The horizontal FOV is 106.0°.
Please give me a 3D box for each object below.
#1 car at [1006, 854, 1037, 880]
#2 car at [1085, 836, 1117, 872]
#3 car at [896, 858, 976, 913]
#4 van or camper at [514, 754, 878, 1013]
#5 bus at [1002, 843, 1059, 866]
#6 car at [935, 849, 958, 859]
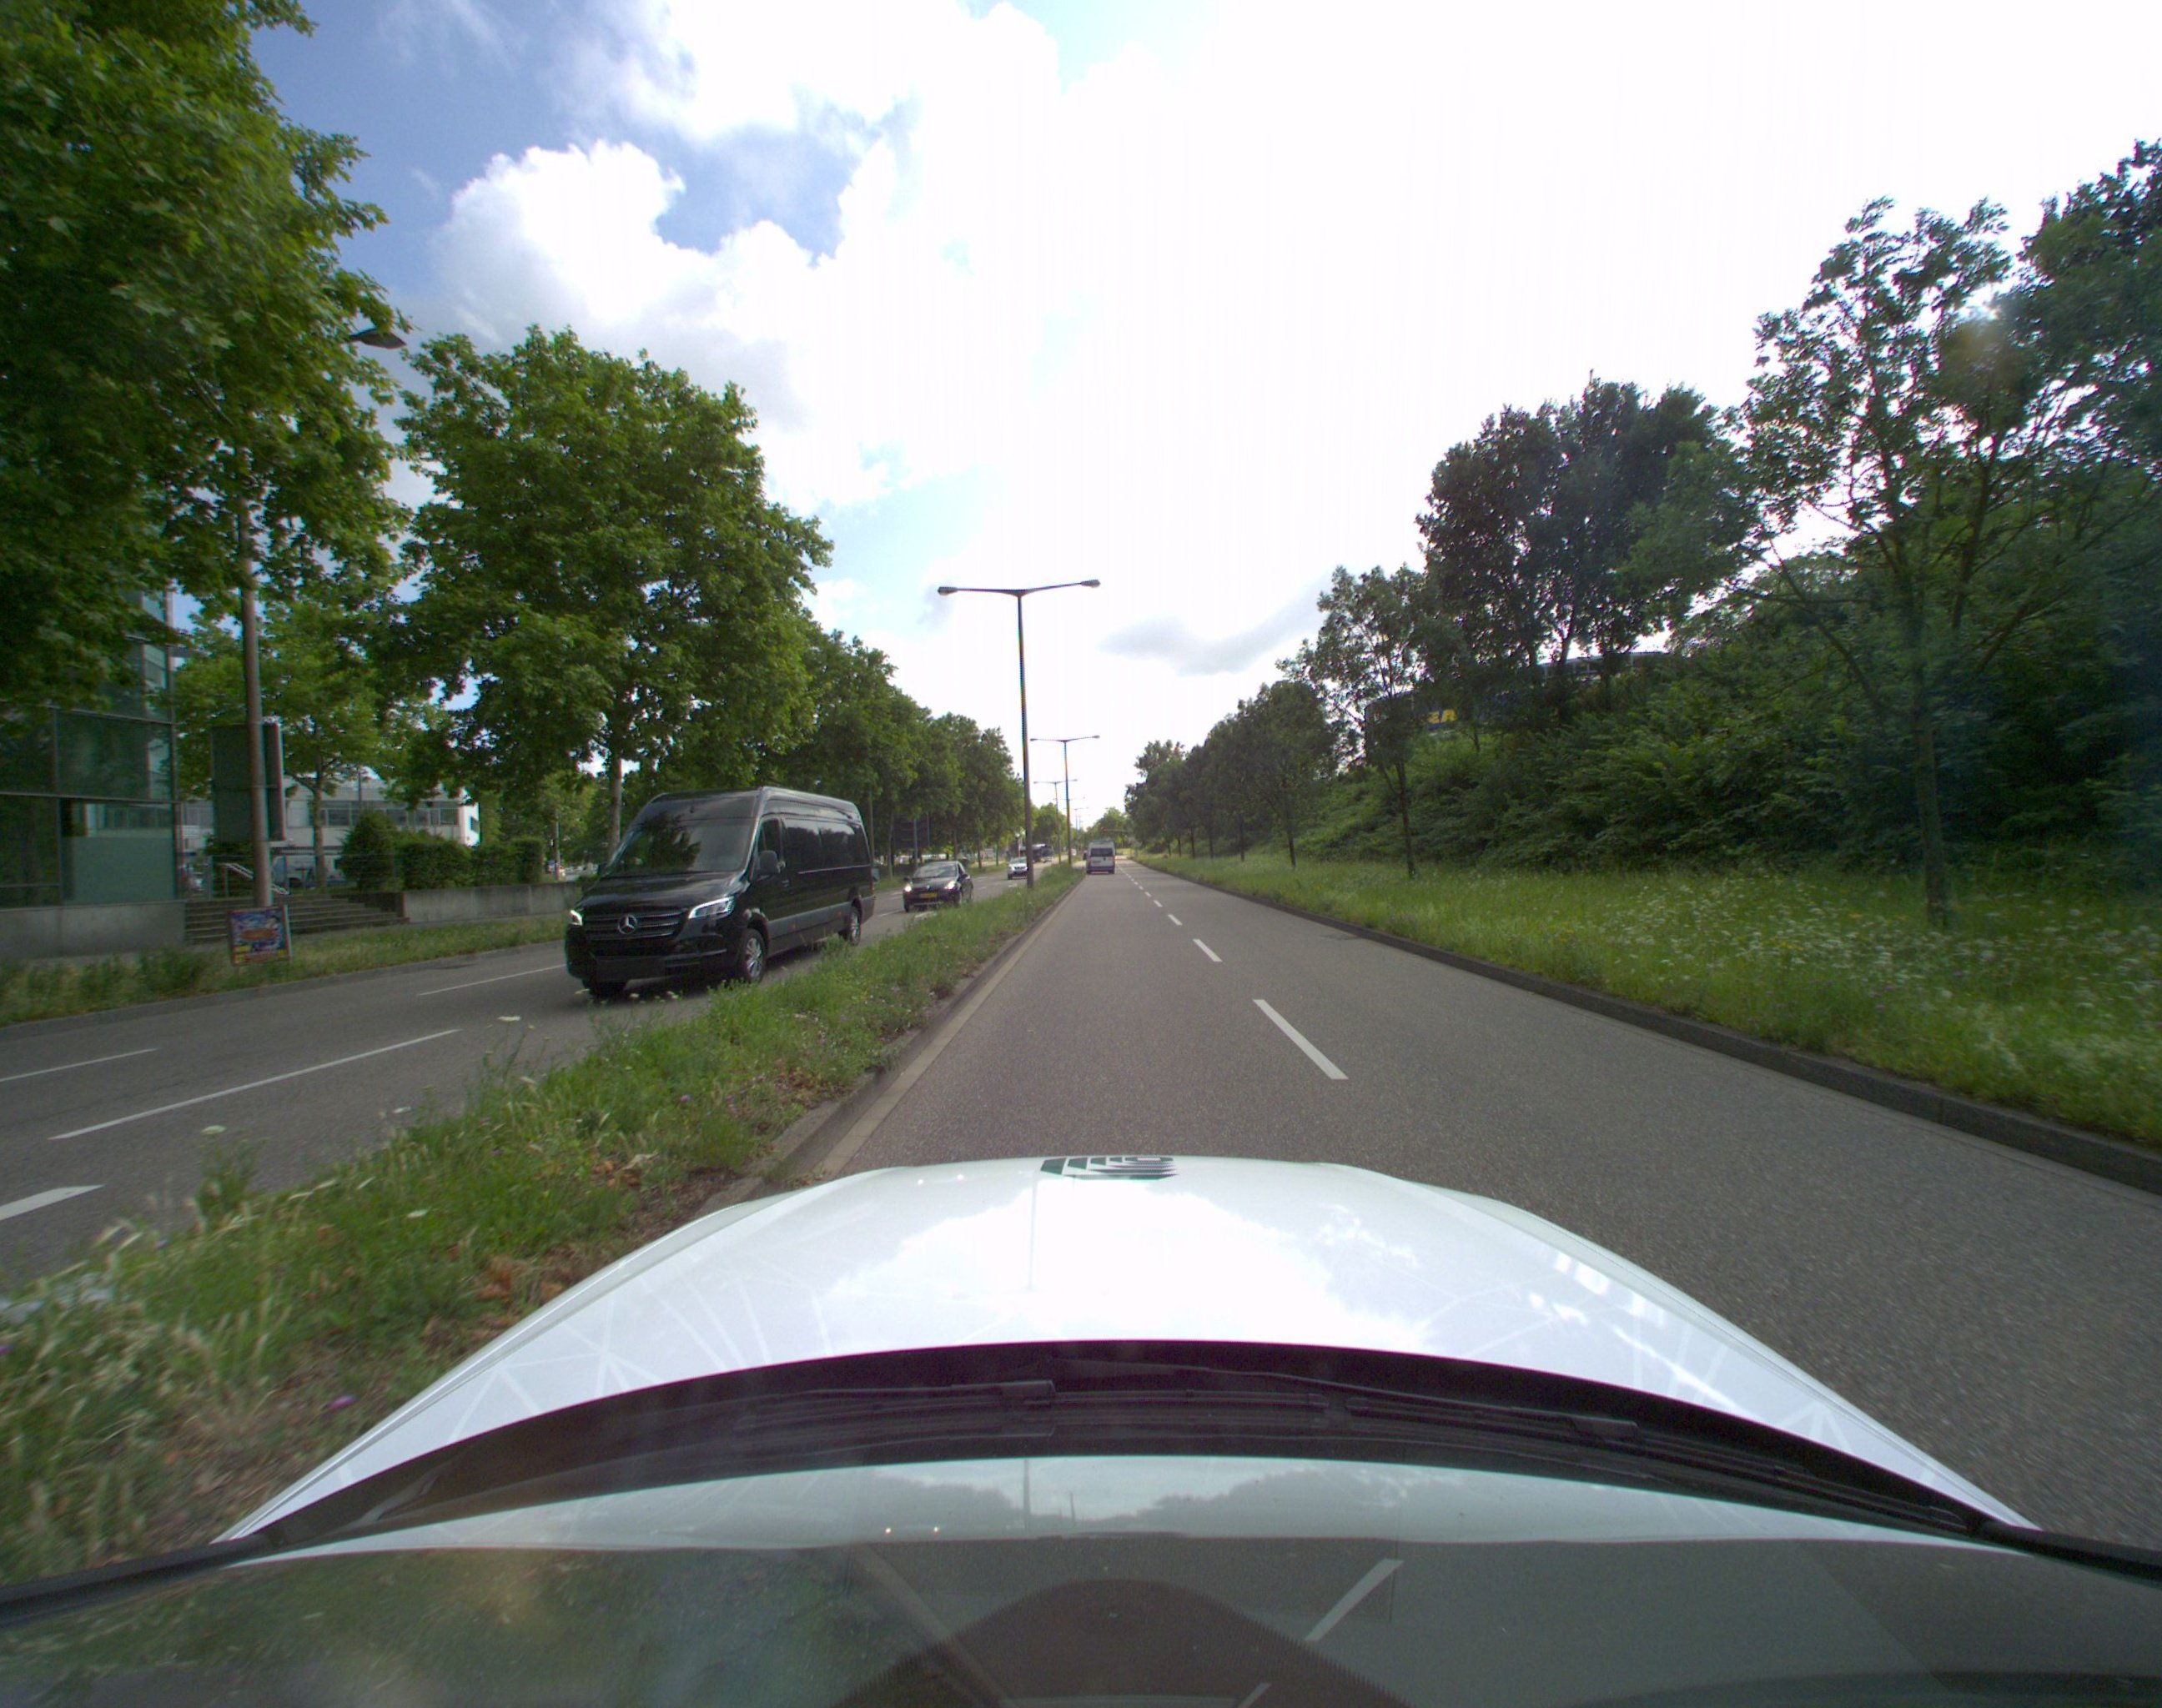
[{"bbox_3d":[-4.246,0.894,59.007,1.808,1.640,4.350,-4,0,0],"label":"car"},{"bbox_3d":[1.496,-0.029,64.092,2.192,2.726,4.927,-1,1,-2],"label":"car"},{"bbox_3d":[-4.410,0.925,25.342,1.688,1.464,3.940,-3,-1,0],"label":"car"},{"bbox_3d":[-4.974,0.321,12.112,2.098,2.659,6.716,-3,0,0],"label":"van or camper"},{"bbox_3d":[-8.766,0.089,139.487,3.135,3.274,12.194,-3,-1,-38],"label":"bus"},{"bbox_3d":[-25.796,0.012,156.020,4.019,1.838,1.844,1,-4,-38],"label":"car"}]
